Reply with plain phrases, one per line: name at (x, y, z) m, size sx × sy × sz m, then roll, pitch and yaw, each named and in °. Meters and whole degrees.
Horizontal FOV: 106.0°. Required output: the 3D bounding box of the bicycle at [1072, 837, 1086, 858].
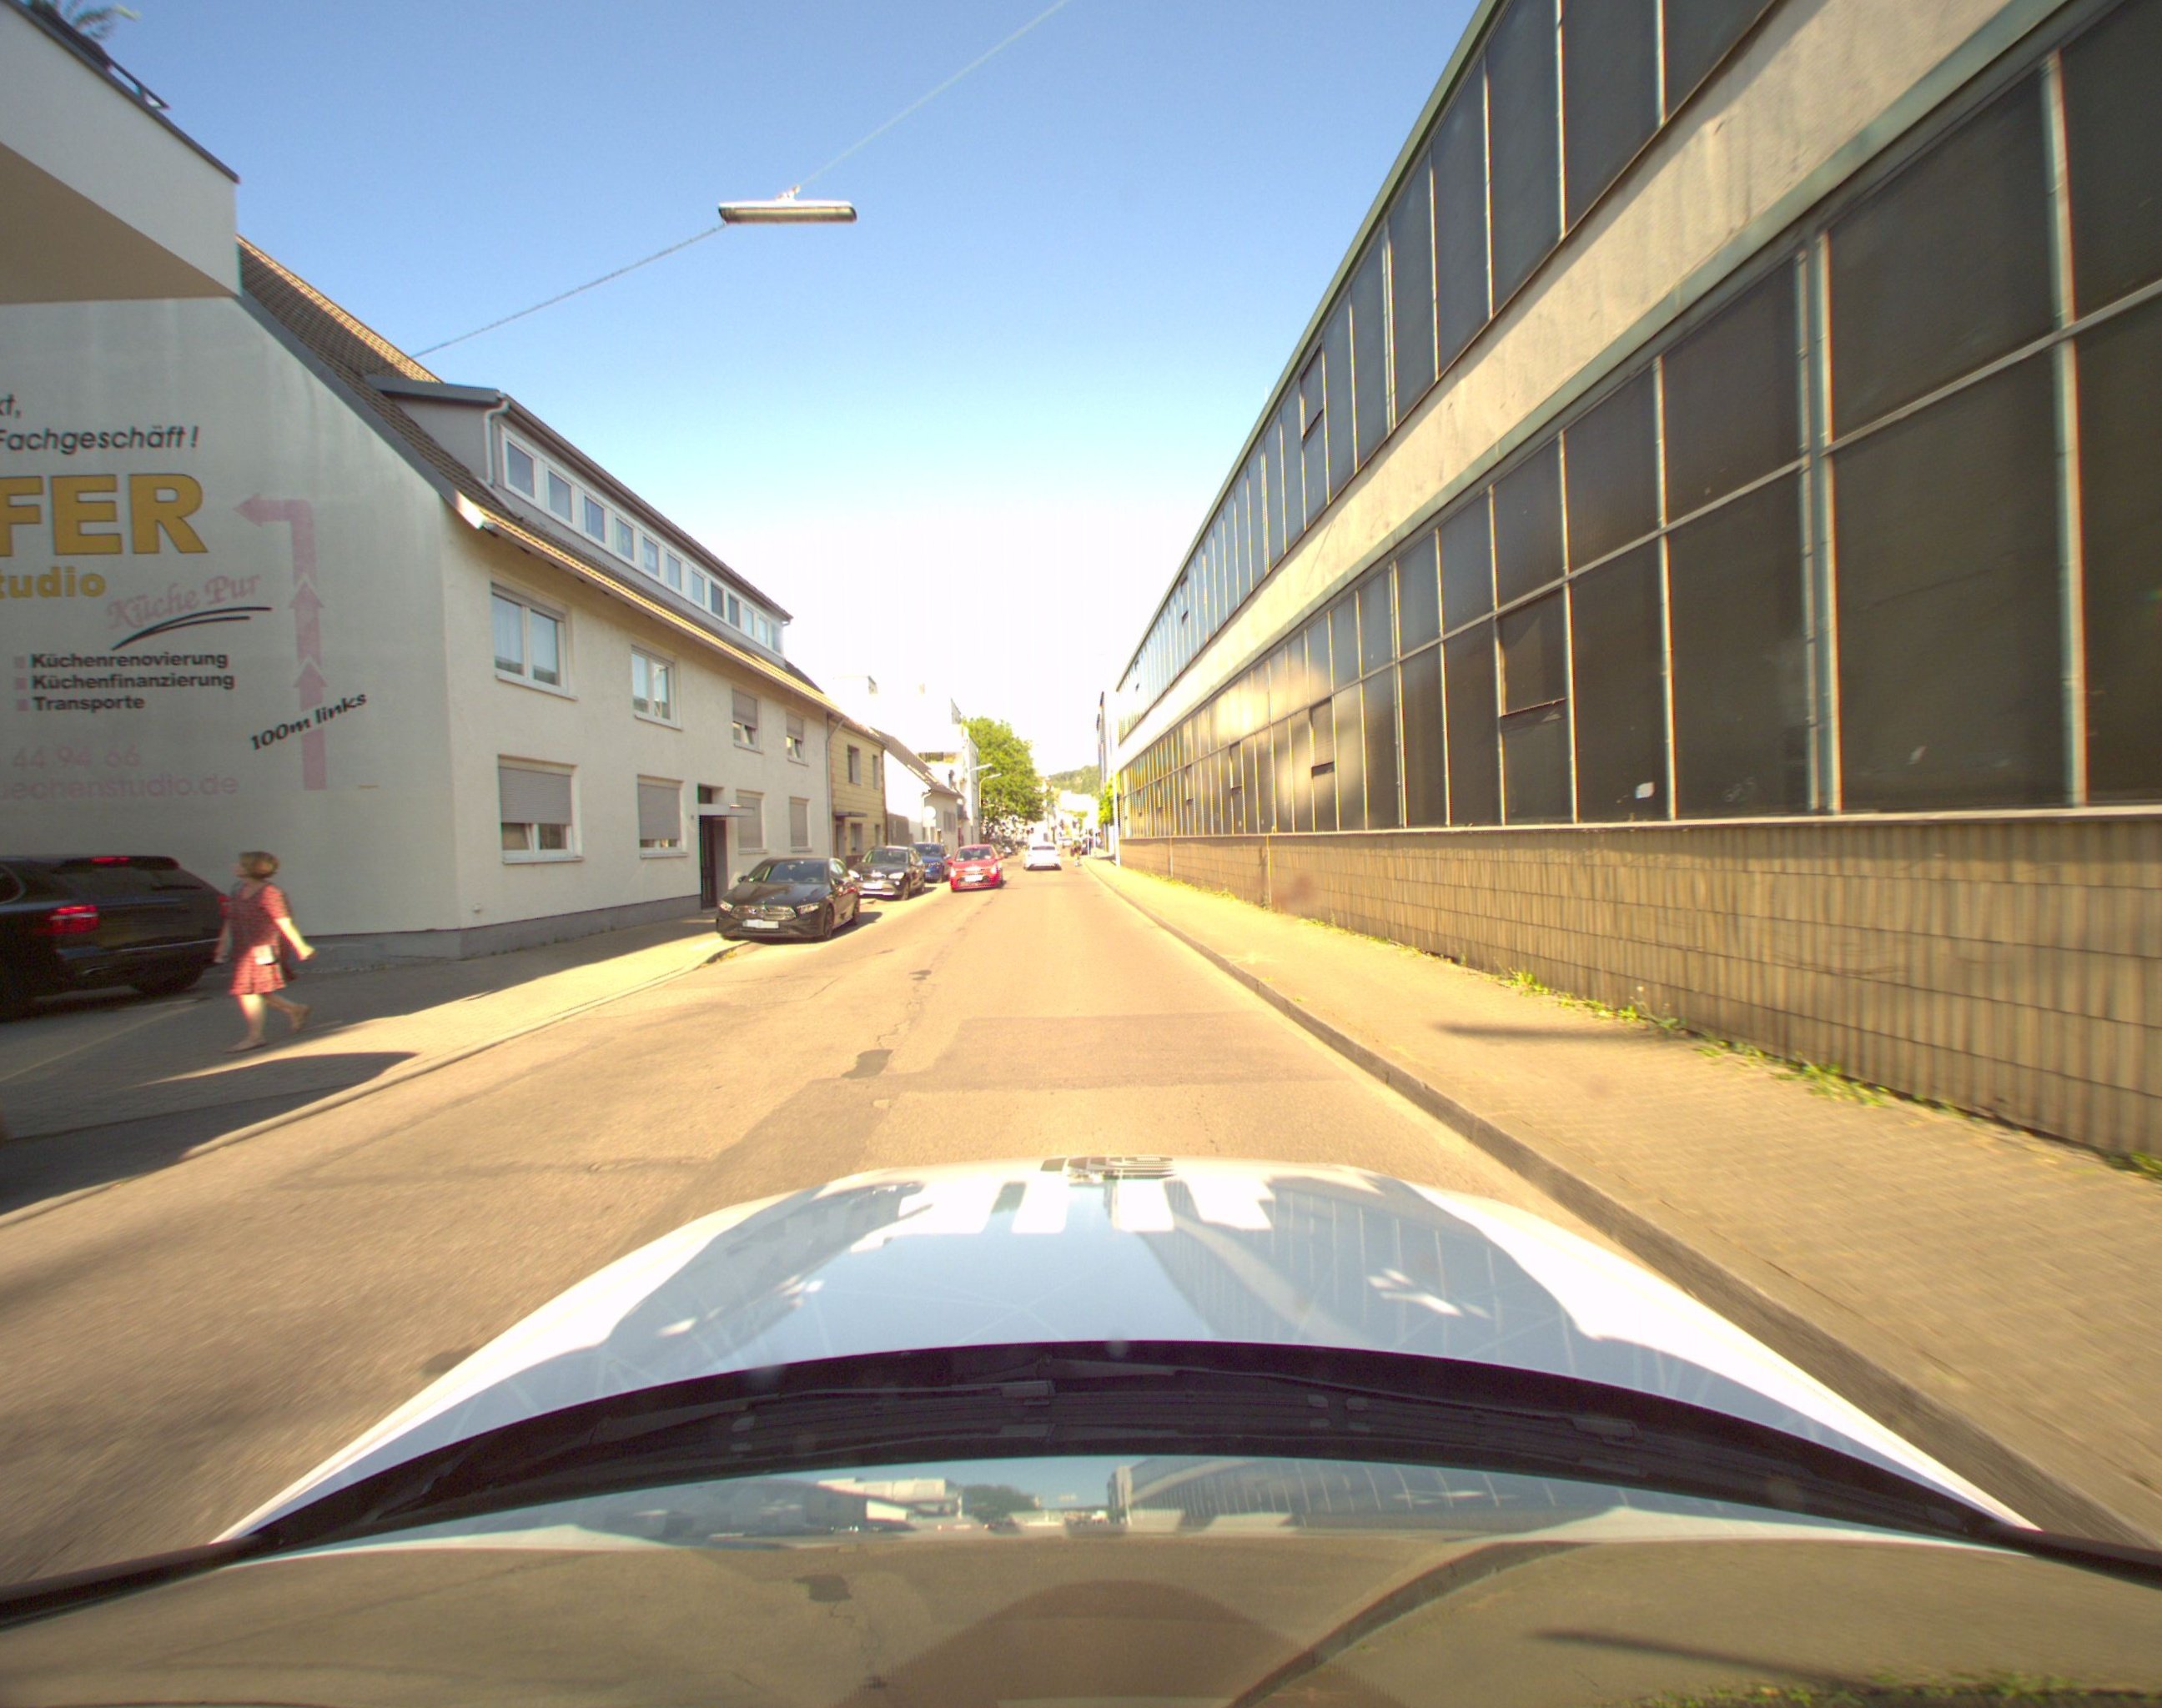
bicycle at (-0.115, -0.351, 46.020) m, size 0.696 × 1.130 × 2.402 m, roll -2°, pitch 1°, yaw -1°

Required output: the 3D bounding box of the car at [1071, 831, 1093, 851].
car at (0.046, -1.147, 71.744) m, size 1.626 × 1.586 × 4.066 m, roll -6°, pitch 1°, yaw -2°

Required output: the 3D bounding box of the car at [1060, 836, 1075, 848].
car at (-2.021, -1.822, 122.285) m, size 1.850 × 1.791 × 4.601 m, roll -2°, pitch 1°, yaw -4°

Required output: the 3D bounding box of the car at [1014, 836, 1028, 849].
car at (-7.912, -1.510, 107.362) m, size 1.700 × 1.575 × 3.911 m, roll -2°, pitch 1°, yaw -2°

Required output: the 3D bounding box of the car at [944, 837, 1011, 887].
car at (-3.433, 0.231, 27.700) m, size 1.838 × 1.491 × 4.140 m, roll -3°, pitch 1°, yaw -3°

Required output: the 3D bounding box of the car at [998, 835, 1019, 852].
car at (-7.883, -1.159, 89.110) m, size 1.847 × 1.791 × 4.606 m, roll -2°, pitch 1°, yaw -1°

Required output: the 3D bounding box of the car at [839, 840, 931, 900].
car at (-5.925, 0.411, 25.179) m, size 1.853 × 1.586 × 4.334 m, roll -1°, pitch 2°, yaw -2°

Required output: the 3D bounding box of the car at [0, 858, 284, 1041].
car at (-11.985, 1.058, 8.712) m, size 4.598 × 1.638 × 2.012 m, roll -4°, pitch 2°, yaw -4°

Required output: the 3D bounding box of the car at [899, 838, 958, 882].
car at (-6.312, 0.200, 34.063) m, size 1.804 × 1.586 × 4.190 m, roll -1°, pitch 2°, yaw -2°

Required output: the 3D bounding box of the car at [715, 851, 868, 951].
car at (-5.208, 0.735, 15.246) m, size 1.682 × 1.535 × 4.326 m, roll -1°, pitch 1°, yaw -6°

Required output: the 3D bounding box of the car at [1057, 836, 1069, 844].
car at (-3.623, -2.824, 163.449) m, size 1.938 × 1.586 × 4.623 m, roll -6°, pitch 1°, yaw 1°

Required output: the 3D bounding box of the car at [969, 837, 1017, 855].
car at (-8.131, -0.729, 75.773) m, size 4.112 × 1.491 × 1.850 m, roll -2°, pitch 1°, yaw 4°

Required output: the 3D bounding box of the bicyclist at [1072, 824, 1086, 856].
bicyclist at (-0.134, -0.783, 45.895) m, size 0.696 × 1.790 × 1.040 m, roll -2°, pitch 1°, yaw -1°

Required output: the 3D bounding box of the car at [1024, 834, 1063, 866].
car at (-1.925, -0.220, 41.553) m, size 1.838 × 1.491 × 4.140 m, roll -2°, pitch 1°, yaw -3°

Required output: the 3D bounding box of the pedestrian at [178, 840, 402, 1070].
pedestrian at (-6.910, 0.799, 7.172) m, size 0.854 × 1.818 × 1.138 m, roll 1°, pitch 2°, yaw 21°

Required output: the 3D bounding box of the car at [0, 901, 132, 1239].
car at (-5.802, 1.057, 2.354) m, size 1.664 × 1.535 × 3.853 m, roll -1°, pitch 1°, yaw -3°
